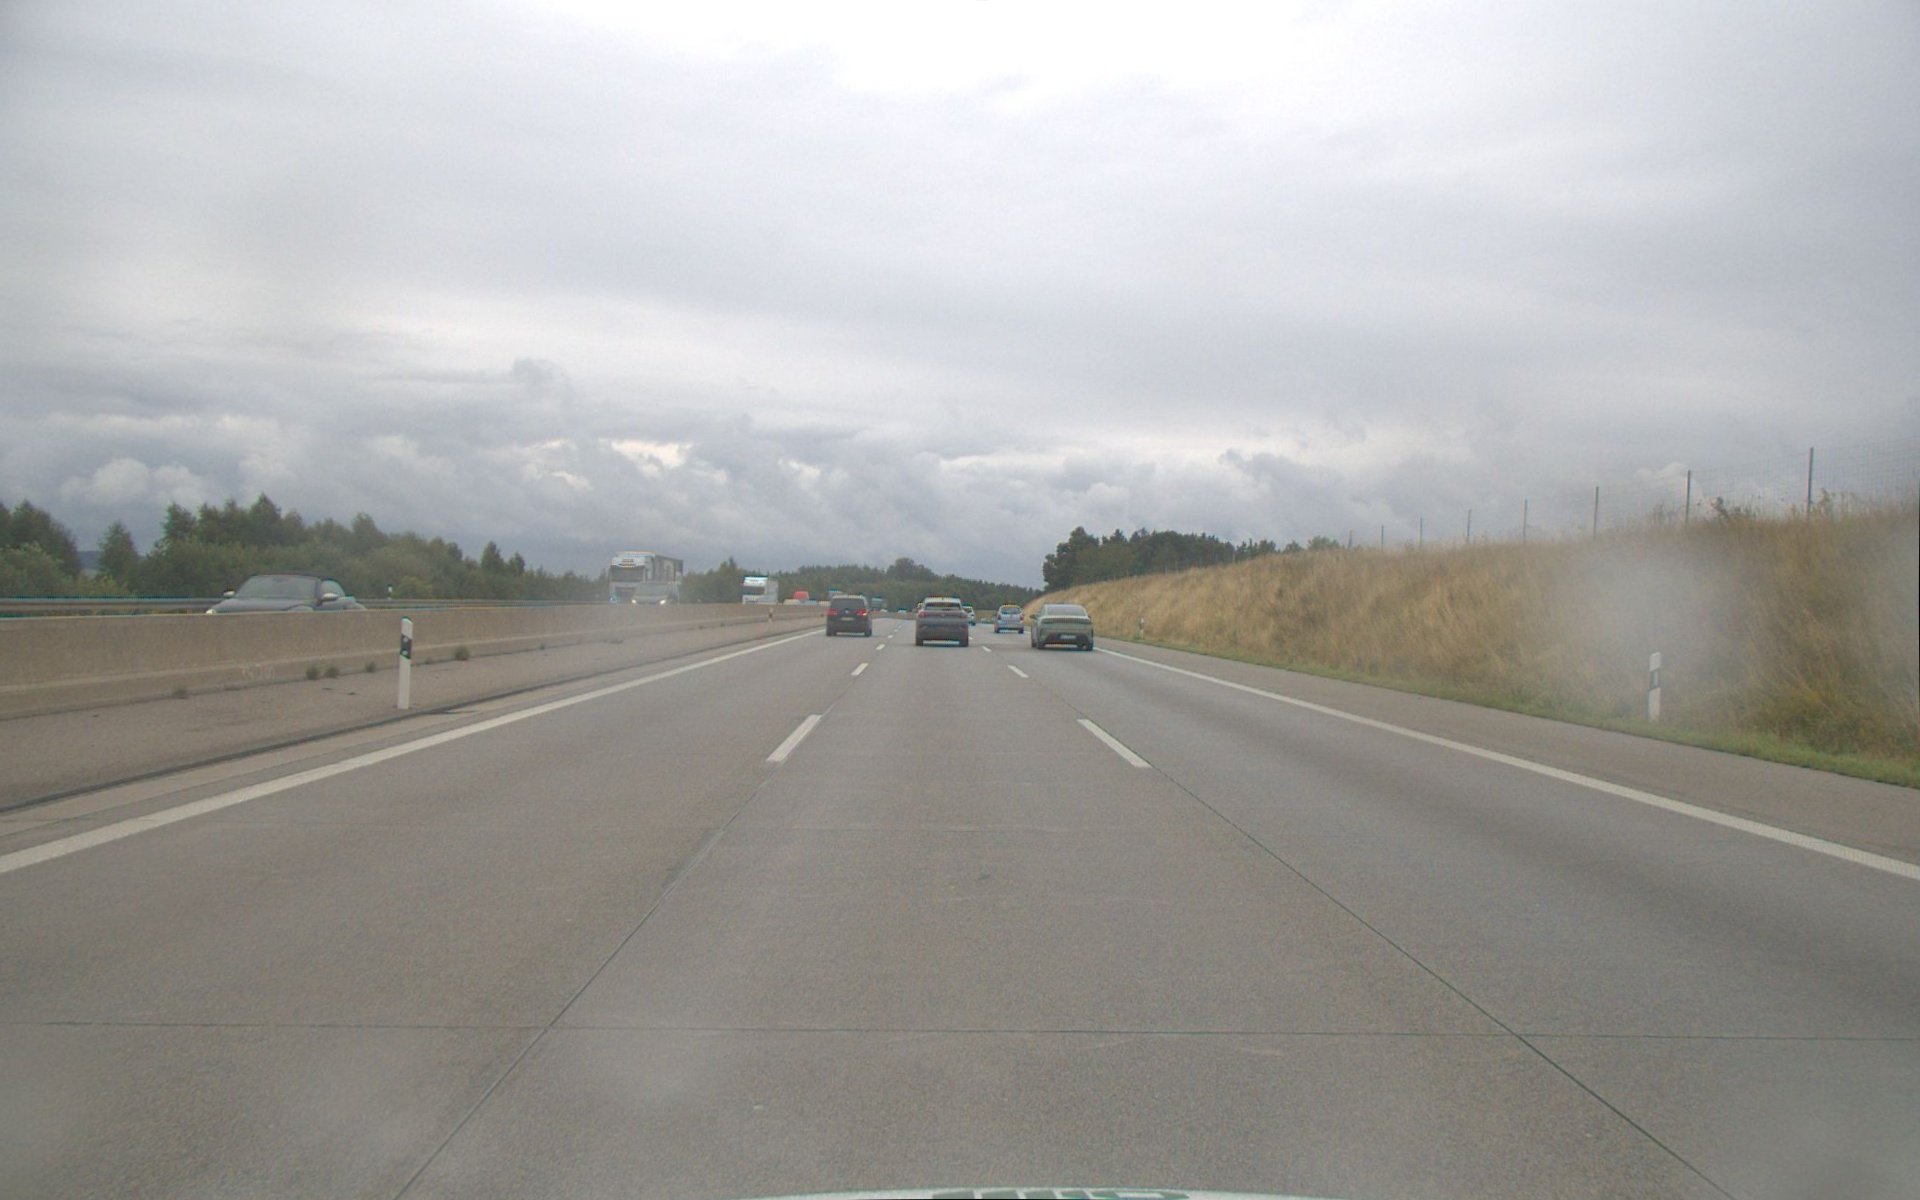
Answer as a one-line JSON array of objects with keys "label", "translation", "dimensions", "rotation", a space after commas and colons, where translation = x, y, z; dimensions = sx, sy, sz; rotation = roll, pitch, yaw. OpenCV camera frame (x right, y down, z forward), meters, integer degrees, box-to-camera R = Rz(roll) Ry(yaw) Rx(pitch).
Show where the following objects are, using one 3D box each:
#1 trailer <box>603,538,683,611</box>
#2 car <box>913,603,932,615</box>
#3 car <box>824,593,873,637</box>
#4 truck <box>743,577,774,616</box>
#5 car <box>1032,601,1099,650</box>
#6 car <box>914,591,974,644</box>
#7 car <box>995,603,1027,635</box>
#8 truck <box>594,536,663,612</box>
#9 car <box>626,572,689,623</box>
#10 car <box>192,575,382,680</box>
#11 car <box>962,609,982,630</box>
[{"label": "trailer", "translation": [-22.401, -1.775, 117.678], "dimensions": [3.526, 4.883, 12.904], "rotation": [1, 0, -2]}, {"label": "car", "translation": [-4.154, 0.957, 182.440], "dimensions": [1.760, 1.243, 4.001], "rotation": [1, 0, 2]}, {"label": "car", "translation": [-4.705, 0.597, 70.124], "dimensions": [1.748, 1.777, 3.915], "rotation": [1, 0, 1]}, {"label": "truck", "translation": [-22.990, -0.428, 188.861], "dimensions": [2.825, 4.366, 7.134], "rotation": [1, 0, -2]}, {"label": "car", "translation": [3.462, 0.809, 55.045], "dimensions": [1.973, 1.471, 4.745], "rotation": [1, 0, 1]}, {"label": "car", "translation": [-0.603, 0.559, 57.342], "dimensions": [1.860, 1.719, 5.263], "rotation": [1, 0, -3]}, {"label": "car", "translation": [2.709, 0.989, 87.898], "dimensions": [1.456, 1.496, 3.504], "rotation": [4, 0, -1]}, {"label": "truck", "translation": [-22.189, -1.738, 110.979], "dimensions": [3.515, 4.903, 5.867], "rotation": [1, 0, -2]}, {"label": "car", "translation": [-13.406, -0.134, 73.526], "dimensions": [1.953, 2.184, 4.862], "rotation": [1, 0, -1]}, {"label": "car", "translation": [-11.848, 0.449, 29.386], "dimensions": [1.953, 1.713, 3.534], "rotation": [1, 0, -1]}, {"label": "car", "translation": [0.938, 1.556, 131.001], "dimensions": [1.456, 1.496, 3.504], "rotation": [4, 0, -1]}]
